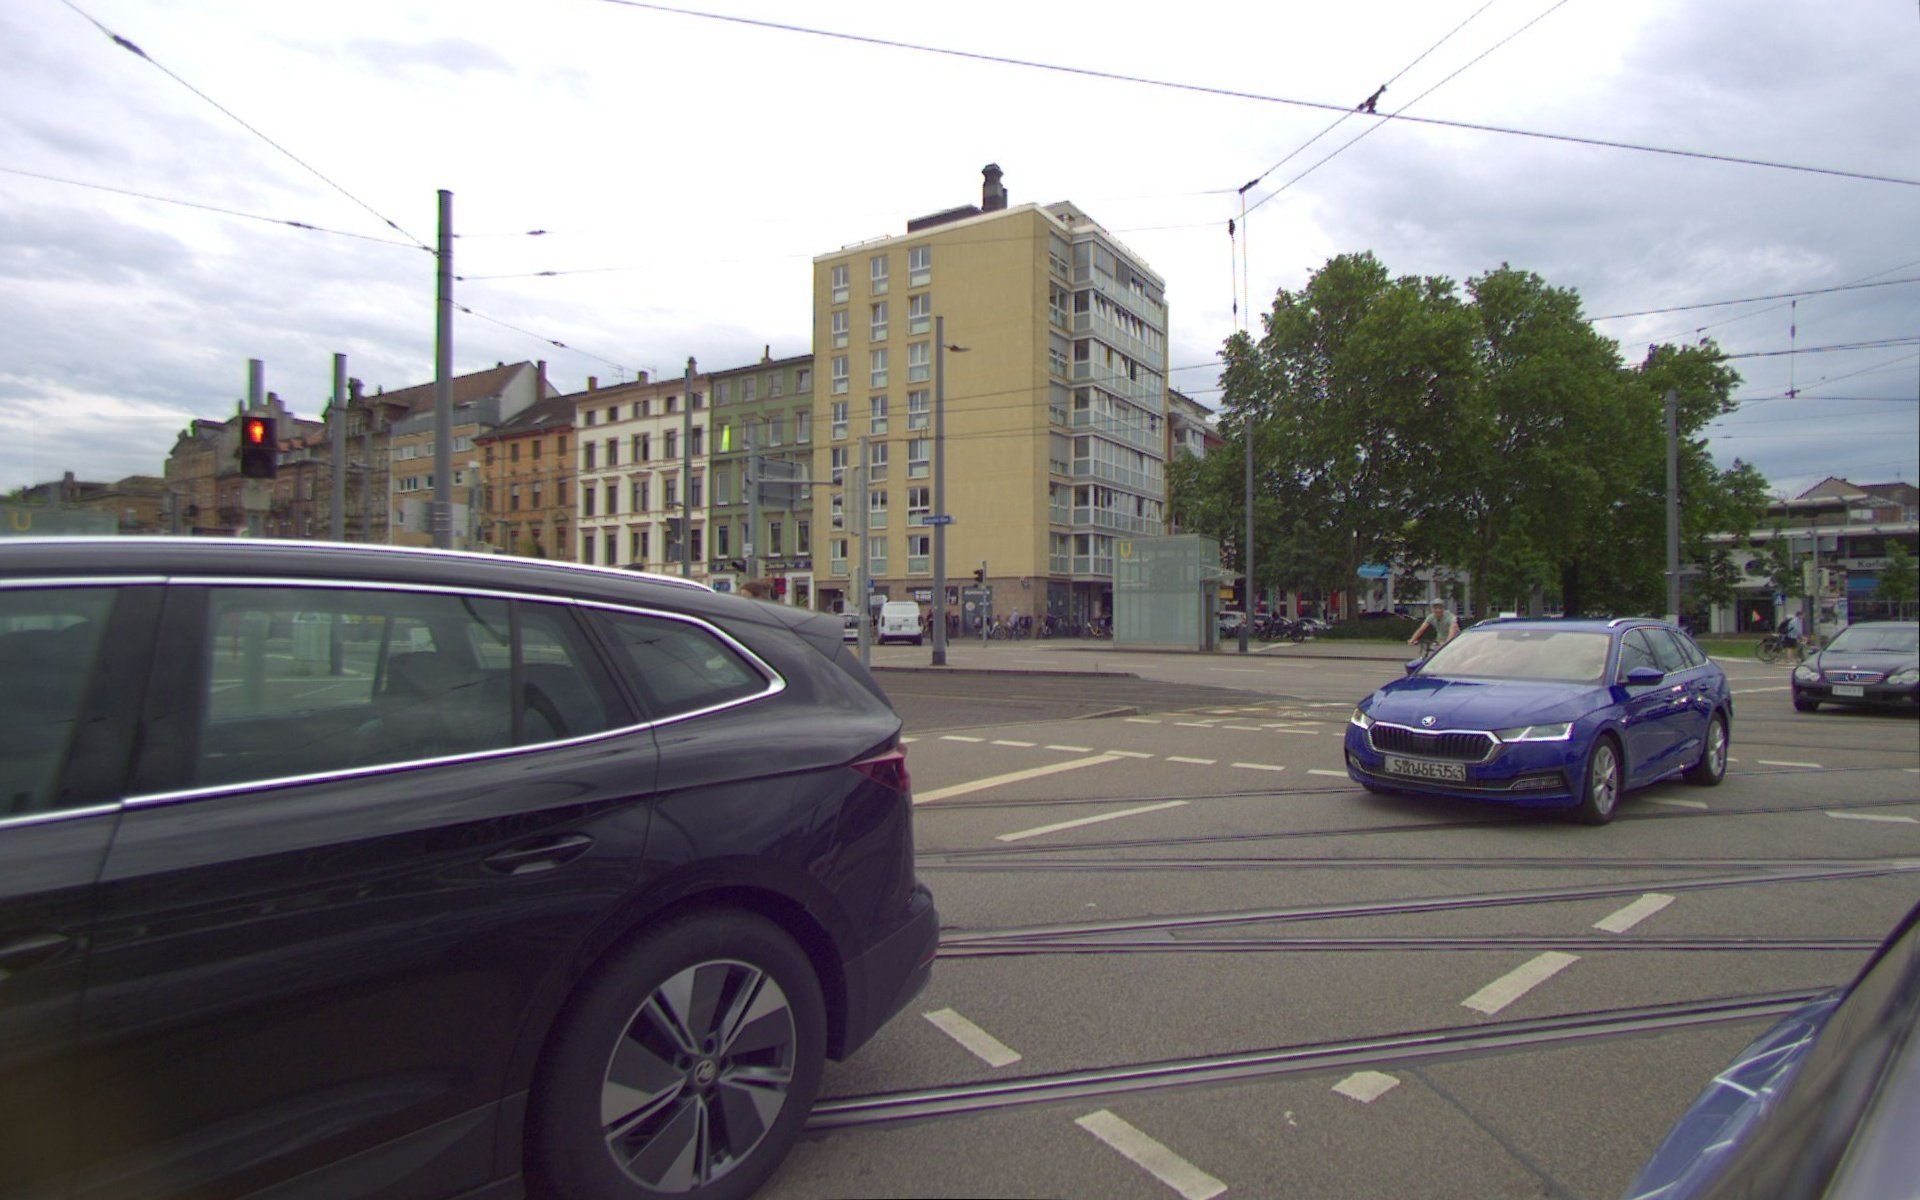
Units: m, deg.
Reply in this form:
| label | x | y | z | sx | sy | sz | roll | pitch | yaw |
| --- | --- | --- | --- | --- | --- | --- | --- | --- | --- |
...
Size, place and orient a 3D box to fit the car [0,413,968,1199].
| label | x | y | z | sx | sy | sz | roll | pitch | yaw |
| --- | --- | --- | --- | --- | --- | --- | --- | --- | --- |
| car | -2.250 | 0.560 | 2.061 | 4.437 | 1.679 | 1.906 | 1 | -1 | -42 |

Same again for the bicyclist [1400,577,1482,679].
| label | x | y | z | sx | sy | sz | roll | pitch | yaw |
| --- | --- | --- | --- | --- | --- | --- | --- | --- | --- |
| bicyclist | 7.942 | 0.463 | 16.722 | 0.914 | 1.639 | 0.792 | 1 | -3 | -29 |

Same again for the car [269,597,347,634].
| label | x | y | z | sx | sy | sz | roll | pitch | yaw |
| --- | --- | --- | --- | --- | --- | --- | --- | --- | --- |
| car | -32.249 | 0.737 | 50.047 | 3.975 | 1.772 | 1.974 | 0 | -1 | 36 |

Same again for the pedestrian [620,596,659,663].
| label | x | y | z | sx | sy | sz | roll | pitch | yaw |
| --- | --- | --- | --- | --- | --- | --- | --- | --- | --- |
| pedestrian | -9.338 | 0.847 | 29.501 | 0.772 | 1.936 | 0.901 | 0 | -1 | 10 |

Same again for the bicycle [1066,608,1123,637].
| label | x | y | z | sx | sy | sz | roll | pitch | yaw |
| --- | --- | --- | --- | --- | --- | --- | --- | --- | --- |
| bicycle | 6.781 | 1.123 | 50.933 | 2.766 | 1.395 | 0.892 | 0 | -1 | 36 |

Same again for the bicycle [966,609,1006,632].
| label | x | y | z | sx | sy | sz | roll | pitch | yaw |
| --- | --- | --- | --- | --- | --- | --- | --- | --- | --- |
| bicycle | 1.370 | 1.080 | 53.145 | 2.023 | 1.184 | 0.662 | 0 | -1 | 31 |

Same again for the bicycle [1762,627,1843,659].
| label | x | y | z | sx | sy | sz | roll | pitch | yaw |
| --- | --- | --- | --- | --- | --- | --- | --- | --- | --- |
| bicycle | 27.484 | 1.397 | 33.051 | 1.982 | 1.011 | 0.571 | -1 | -4 | 39 |

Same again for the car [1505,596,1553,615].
| label | x | y | z | sx | sy | sz | roll | pitch | yaw |
| --- | --- | --- | --- | --- | --- | --- | --- | --- | --- |
| car | 47.950 | 0.462 | 85.307 | 1.415 | 1.531 | 3.121 | -4 | 2 | -36 |

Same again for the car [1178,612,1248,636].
| label | x | y | z | sx | sy | sz | roll | pitch | yaw |
| --- | --- | --- | --- | --- | --- | --- | --- | --- | --- |
| car | 15.772 | 1.488 | 63.057 | 3.957 | 1.352 | 1.821 | 1 | 0 | 25 |

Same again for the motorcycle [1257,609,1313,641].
| label | x | y | z | sx | sy | sz | roll | pitch | yaw |
| --- | --- | --- | --- | --- | --- | --- | --- | --- | --- |
| motorcycle | 14.424 | 1.098 | 44.899 | 2.269 | 1.383 | 1.038 | 1 | 0 | 25 |

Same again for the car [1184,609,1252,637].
| label | x | y | z | sx | sy | sz | roll | pitch | yaw |
| --- | --- | --- | --- | --- | --- | --- | --- | --- | --- |
| car | 16.637 | 1.458 | 65.251 | 3.959 | 1.745 | 1.982 | 1 | 0 | 26 |

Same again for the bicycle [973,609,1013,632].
| label | x | y | z | sx | sy | sz | roll | pitch | yaw |
| --- | --- | --- | --- | --- | --- | --- | --- | --- | --- |
| bicycle | 1.743 | 1.091 | 53.723 | 2.023 | 1.184 | 0.662 | 0 | -1 | 31 |

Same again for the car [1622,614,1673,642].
| label | x | y | z | sx | sy | sz | roll | pitch | yaw |
| --- | --- | --- | --- | --- | --- | --- | --- | --- | --- |
| car | 52.880 | 2.122 | 77.856 | 4.155 | 1.616 | 1.956 | -7 | 4 | -37 |

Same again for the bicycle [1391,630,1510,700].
| label | x | y | z | sx | sy | sz | roll | pitch | yaw |
| --- | --- | --- | --- | --- | --- | --- | --- | --- | --- |
| bicycle | 8.152 | 1.054 | 16.806 | 1.975 | 1.093 | 0.764 | 1 | -3 | -29 |

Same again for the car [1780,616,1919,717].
| label | x | y | z | sx | sy | sz | roll | pitch | yaw |
| --- | --- | --- | --- | --- | --- | --- | --- | --- | --- |
| car | 14.876 | 0.964 | 15.960 | 4.336 | 1.388 | 1.772 | 1 | 0 | -33 |

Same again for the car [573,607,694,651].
| label | x | y | z | sx | sy | sz | roll | pitch | yaw |
| --- | --- | --- | --- | --- | --- | --- | --- | --- | --- |
| car | -11.802 | 1.010 | 36.478 | 4.418 | 1.505 | 1.974 | 0 | -1 | 36 |

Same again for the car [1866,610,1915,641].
| label | x | y | z | sx | sy | sz | roll | pitch | yaw |
| --- | --- | --- | --- | --- | --- | --- | --- | --- | --- |
| car | 61.270 | 1.647 | 66.614 | 4.598 | 1.663 | 1.953 | -5 | 3 | -43 |

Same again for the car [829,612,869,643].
| label | x | y | z | sx | sy | sz | roll | pitch | yaw |
| --- | --- | --- | --- | --- | --- | --- | --- | --- | --- |
| car | -5.349 | 1.298 | 49.111 | 1.702 | 1.435 | 3.740 | 0 | 0 | -3 |

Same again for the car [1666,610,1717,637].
| label | x | y | z | sx | sy | sz | roll | pitch | yaw |
| --- | --- | --- | --- | --- | --- | --- | --- | --- | --- |
| car | 54.770 | 1.713 | 75.740 | 4.157 | 1.473 | 1.956 | -8 | 5 | -37 |

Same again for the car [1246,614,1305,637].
| label | x | y | z | sx | sy | sz | roll | pitch | yaw |
| --- | --- | --- | --- | --- | --- | --- | --- | --- | --- |
| car | 23.605 | 1.918 | 75.766 | 3.959 | 1.634 | 1.982 | 1 | -1 | 26 |

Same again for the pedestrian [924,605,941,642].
| label | x | y | z | sx | sy | sz | roll | pitch | yaw |
| --- | --- | --- | --- | --- | --- | --- | --- | --- | --- |
| pedestrian | -1.319 | 1.132 | 48.501 | 0.604 | 1.737 | 0.826 | 1 | -1 | -18 |

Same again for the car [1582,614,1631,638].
| label | x | y | z | sx | sy | sz | roll | pitch | yaw |
| --- | --- | --- | --- | --- | --- | --- | --- | --- | --- |
| car | 51.236 | 2.029 | 80.209 | 4.154 | 1.484 | 1.956 | -6 | 3 | -37 |

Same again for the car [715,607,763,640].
| label | x | y | z | sx | sy | sz | roll | pitch | yaw |
| --- | --- | --- | --- | --- | --- | --- | --- | --- | --- |
| car | -11.175 | 1.169 | 51.080 | 1.852 | 1.602 | 3.745 | 0 | -1 | -21 |

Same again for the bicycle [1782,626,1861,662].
| label | x | y | z | sx | sy | sz | roll | pitch | yaw |
| --- | --- | --- | --- | --- | --- | --- | --- | --- | --- |
| bicycle | 28.866 | 1.463 | 33.941 | 0.592 | 1.010 | 1.942 | 1 | 2 | -44 |

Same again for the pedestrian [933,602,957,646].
| label | x | y | z | sx | sy | sz | roll | pitch | yaw |
| --- | --- | --- | --- | --- | --- | --- | --- | --- | --- |
| pedestrian | -0.599 | 0.990 | 41.945 | 0.776 | 1.779 | 1.045 | 1 | -1 | 12 |

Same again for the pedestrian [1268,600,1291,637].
| label | x | y | z | sx | sy | sz | roll | pitch | yaw |
| --- | --- | --- | --- | --- | --- | --- | --- | --- | --- |
| pedestrian | 16.438 | 0.947 | 52.108 | 0.863 | 1.842 | 0.885 | 0 | -1 | 41 |

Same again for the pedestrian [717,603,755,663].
| label | x | y | z | sx | sy | sz | roll | pitch | yaw |
| --- | --- | --- | --- | --- | --- | --- | --- | --- | --- |
| pedestrian | -6.250 | 0.906 | 28.281 | 0.772 | 1.664 | 0.901 | 0 | -1 | 10 |

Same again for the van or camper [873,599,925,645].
| label | x | y | z | sx | sy | sz | roll | pitch | yaw |
| --- | --- | --- | --- | --- | --- | --- | --- | --- | --- |
| van or camper | -2.921 | 1.007 | 47.445 | 2.128 | 2.004 | 5.472 | 0 | -1 | -6 |

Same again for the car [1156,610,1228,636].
| label | x | y | z | sx | sy | sz | roll | pitch | yaw |
| --- | --- | --- | --- | --- | --- | --- | --- | --- | --- |
| car | 14.064 | 1.393 | 61.409 | 3.957 | 1.460 | 1.983 | 1 | 0 | 25 |

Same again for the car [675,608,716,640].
| label | x | y | z | sx | sy | sz | roll | pitch | yaw |
| --- | --- | --- | --- | --- | --- | --- | --- | --- | --- |
| car | -13.740 | 1.198 | 52.498 | 1.700 | 1.608 | 3.745 | 0 | -1 | -21 |

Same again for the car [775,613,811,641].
| label | x | y | z | sx | sy | sz | roll | pitch | yaw |
| --- | --- | --- | --- | --- | --- | --- | --- | --- | --- |
| car | -8.194 | 1.295 | 49.476 | 1.646 | 1.320 | 3.744 | 0 | -1 | -10 |

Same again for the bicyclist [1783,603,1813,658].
| label | x | y | z | sx | sy | sz | roll | pitch | yaw |
| --- | --- | --- | --- | --- | --- | --- | --- | --- | --- |
| bicyclist | 27.416 | 0.995 | 33.135 | 0.731 | 1.774 | 0.578 | 0 | -3 | 38 |

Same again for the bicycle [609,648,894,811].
| label | x | y | z | sx | sy | sz | roll | pitch | yaw |
| --- | --- | --- | --- | --- | --- | --- | --- | --- | --- |
| bicycle | -1.566 | 0.932 | 7.842 | 2.085 | 1.068 | 0.627 | 1 | -1 | -35 |

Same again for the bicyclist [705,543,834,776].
| label | x | y | z | sx | sy | sz | roll | pitch | yaw |
| --- | --- | --- | --- | --- | --- | --- | --- | --- | --- |
| bicyclist | -1.489 | 0.444 | 7.919 | 0.790 | 1.712 | 0.617 | 2 | -2 | -36 |

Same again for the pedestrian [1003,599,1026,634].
| label | x | y | z | sx | sy | sz | roll | pitch | yaw |
| --- | --- | --- | --- | --- | --- | --- | --- | --- | --- |
| pedestrian | 2.773 | 0.861 | 51.612 | 0.899 | 1.759 | 0.804 | 0 | -1 | 32 |

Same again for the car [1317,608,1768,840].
| label | x | y | z | sx | sy | sz | roll | pitch | yaw |
| --- | --- | --- | --- | --- | --- | --- | --- | --- | --- |
| car | 5.084 | 0.807 | 8.530 | 4.671 | 1.454 | 1.769 | 1 | -1 | -39 |

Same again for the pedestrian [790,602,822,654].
| label | x | y | z | sx | sy | sz | roll | pitch | yaw |
| --- | --- | --- | --- | --- | --- | --- | --- | --- | --- |
| pedestrian | -4.935 | 0.896 | 32.515 | 0.756 | 1.632 | 0.948 | 0 | -1 | 10 |

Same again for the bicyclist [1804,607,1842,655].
| label | x | y | z | sx | sy | sz | roll | pitch | yaw |
| --- | --- | --- | --- | --- | --- | --- | --- | --- | --- |
| bicyclist | 28.928 | 1.027 | 33.929 | 0.661 | 1.540 | 0.884 | 1 | 1 | -44 |

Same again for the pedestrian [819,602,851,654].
| label | x | y | z | sx | sy | sz | roll | pitch | yaw |
| --- | --- | --- | --- | --- | --- | --- | --- | --- | --- |
| pedestrian | -3.966 | 0.877 | 32.189 | 0.772 | 1.622 | 0.894 | 0 | -1 | 10 |
